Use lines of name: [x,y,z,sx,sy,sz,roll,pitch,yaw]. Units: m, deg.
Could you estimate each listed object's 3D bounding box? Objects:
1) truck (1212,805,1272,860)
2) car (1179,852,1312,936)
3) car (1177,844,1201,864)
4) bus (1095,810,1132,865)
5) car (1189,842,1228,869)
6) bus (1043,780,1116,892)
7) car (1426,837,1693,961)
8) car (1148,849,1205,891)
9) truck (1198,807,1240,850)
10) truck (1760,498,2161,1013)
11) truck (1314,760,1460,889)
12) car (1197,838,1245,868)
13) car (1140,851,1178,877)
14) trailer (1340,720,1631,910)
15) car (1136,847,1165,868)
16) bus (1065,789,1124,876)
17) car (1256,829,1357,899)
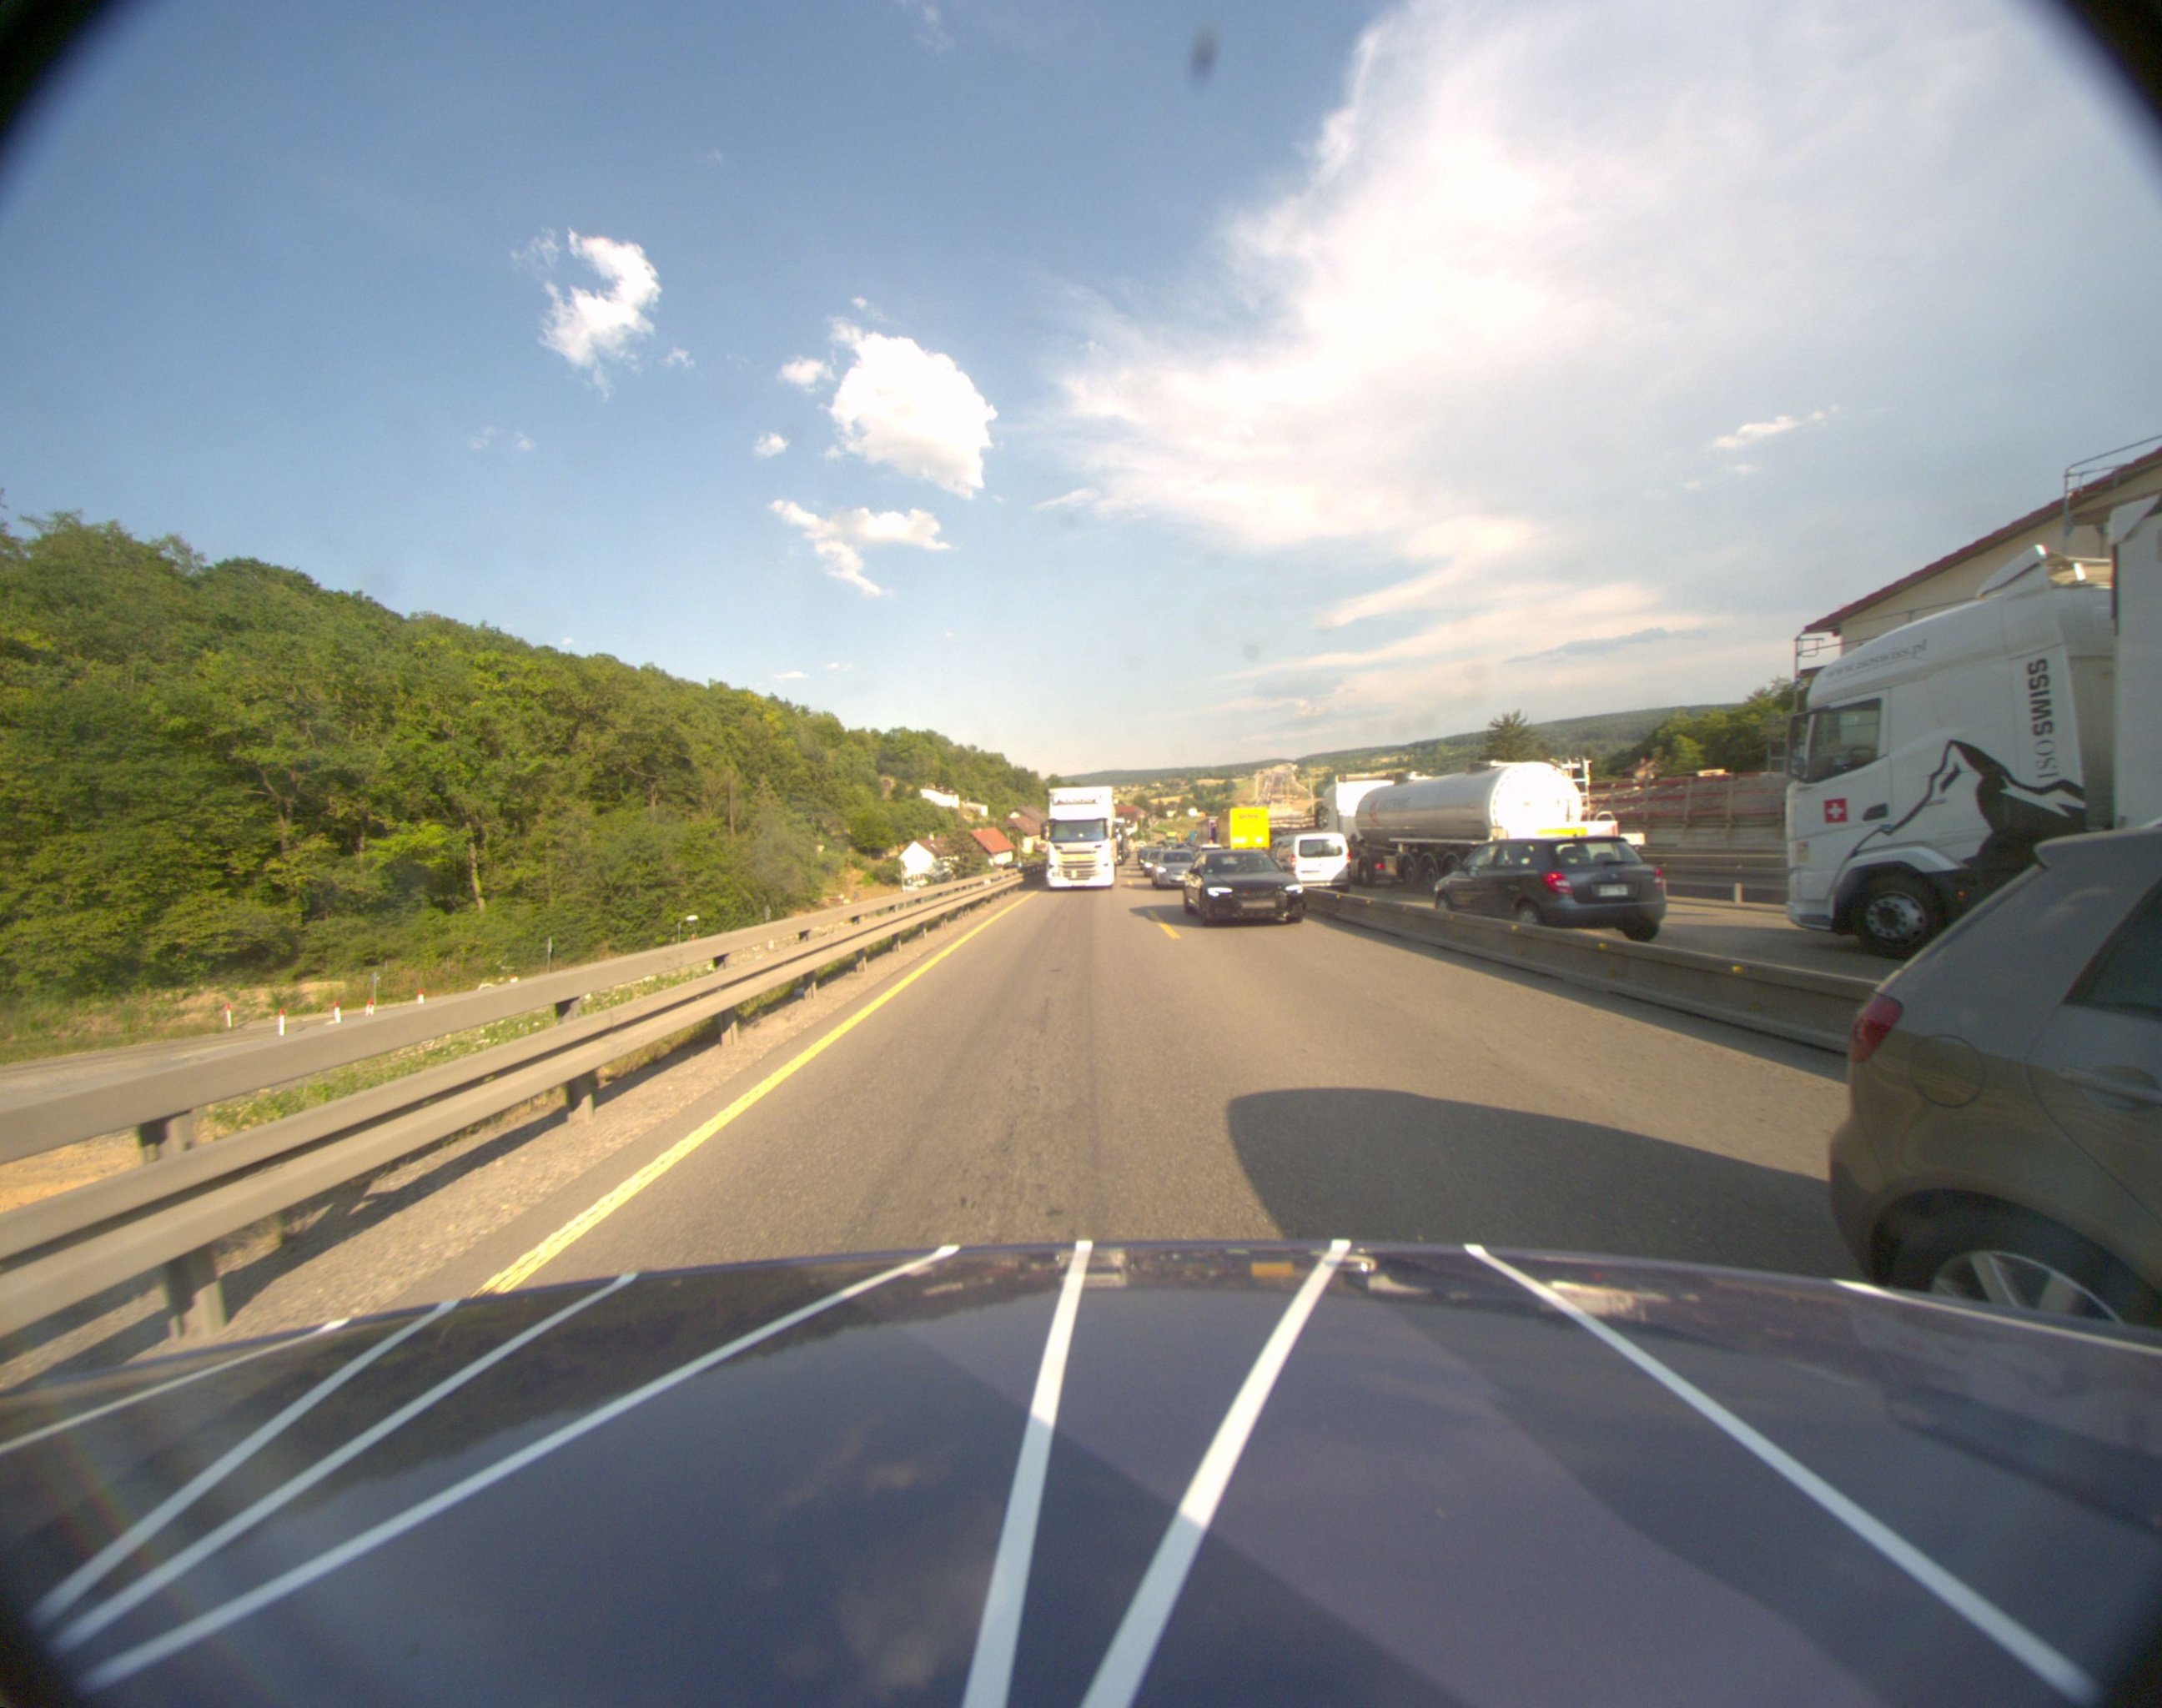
truck: [11.794,-1.587,56.466,2.899,3.689,9.489,-2,1,4]
car: [3.175,0.712,15.459,1.867,1.391,3.999,-1,1,1]
car: [9.033,0.003,63.732,1.758,1.521,4.000,-2,2,4]
bus: [2.901,-1.396,69.812,2.985,4.553,10.903,-2,0,1]
car: [7.778,0.038,46.790,1.729,1.521,3.999,-2,1,1]
bus: [0.139,-0.746,33.820,2.635,4.077,11.313,-1,1,2]
car: [6.833,0.544,11.356,1.662,1.501,3.689,-2,1,1]
car: [3.514,0.558,28.589,1.698,1.390,4.000,-4,0,2]
truck: [13.378,-2.440,74.297,2.899,3.861,9.489,-2,1,4]
truck: [9.885,-0.809,6.421,2.851,4.013,6.100,-2,1,1]
truck: [10.322,-0.949,26.367,2.605,3.865,6.202,-2,1,2]
car: [6.952,-0.102,38.051,1.798,1.405,4.000,1,1,3]
car: [4.124,0.499,40.626,1.627,1.239,3.999,-2,1,1]
trailer: [10.187,-0.880,21.037,2.603,3.858,10.576,-2,1,2]
car: [4.789,0.240,52.940,1.627,1.316,3.999,-2,1,1]
bus: [0.860,-1.142,45.617,2.985,4.553,9.967,-2,0,2]
car: [6.689,0.239,22.983,1.867,1.899,3.999,-1,1,1]
